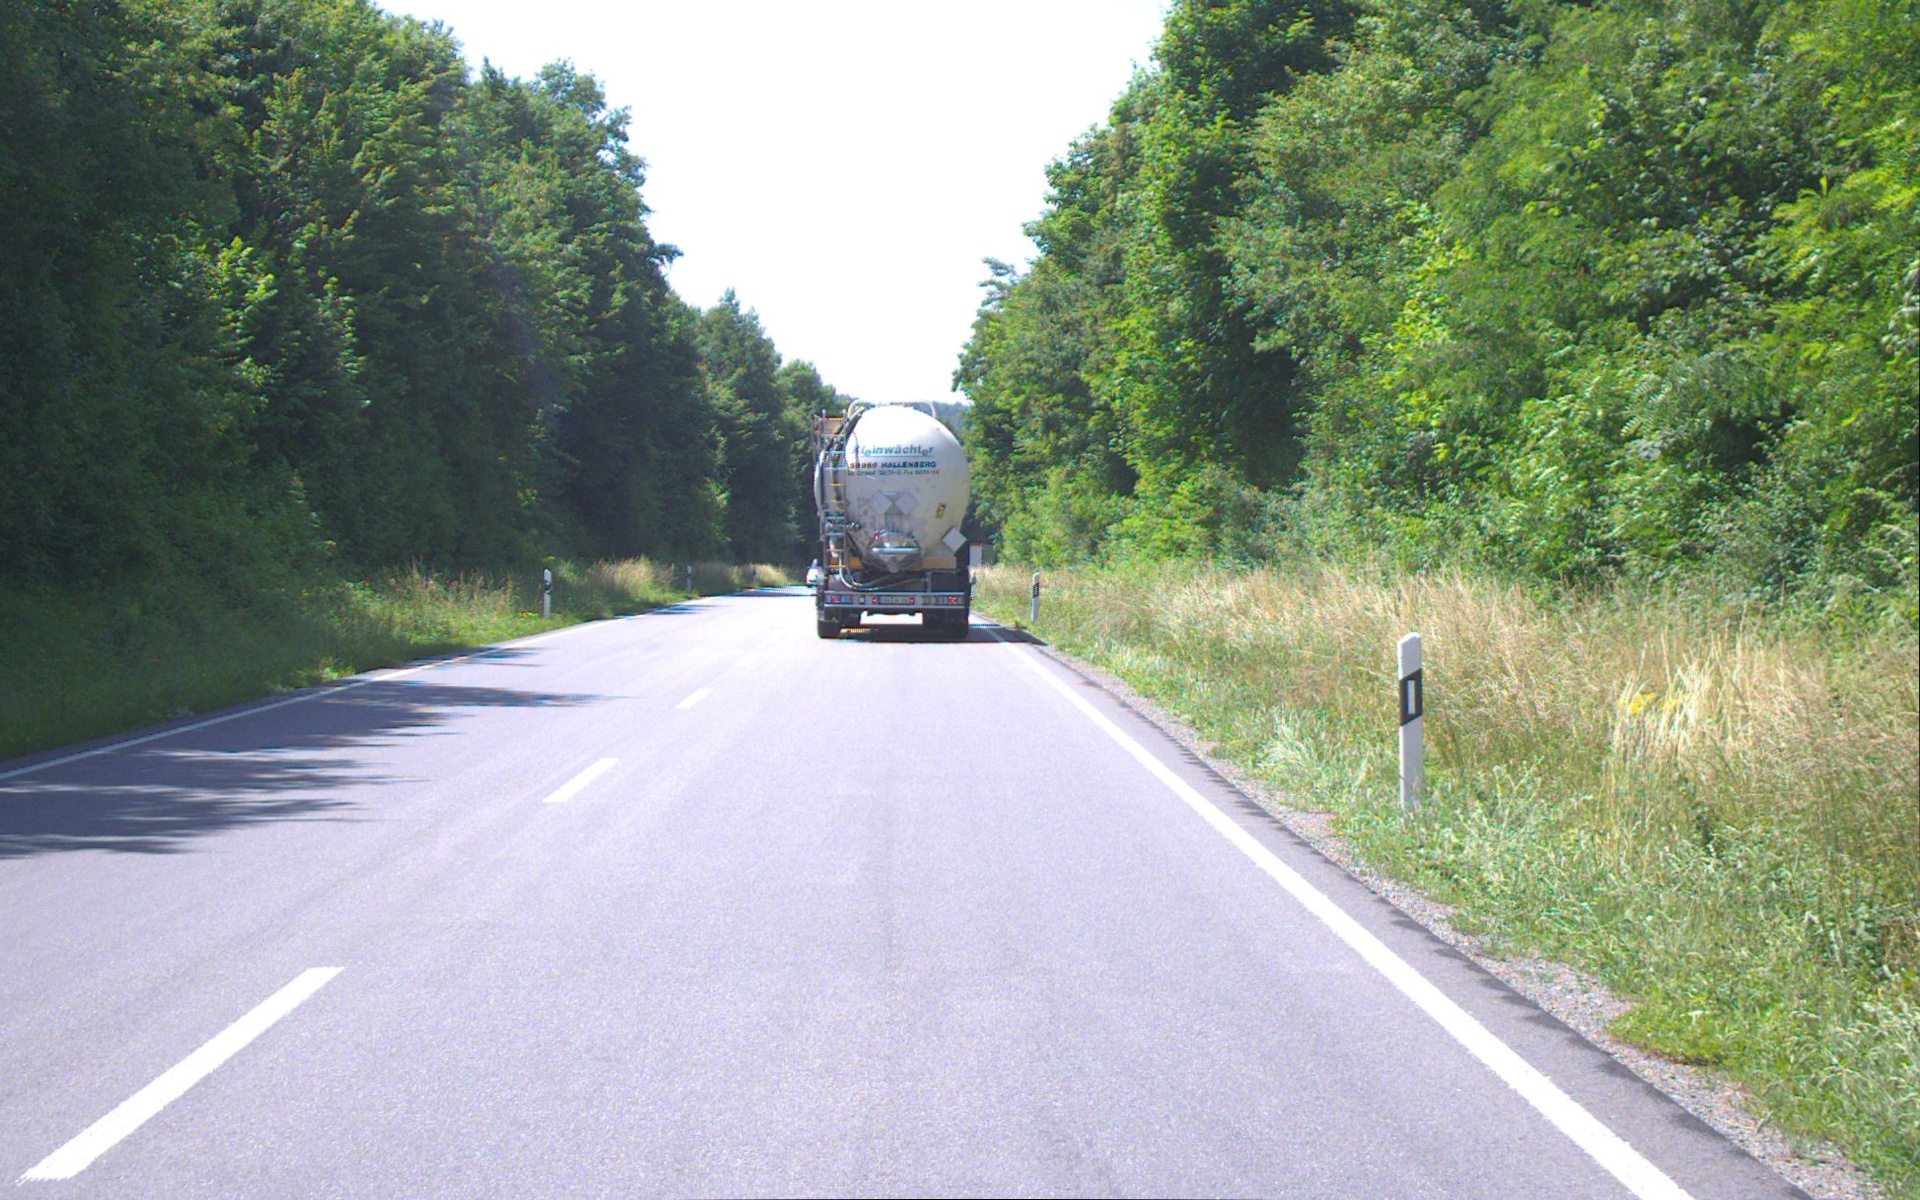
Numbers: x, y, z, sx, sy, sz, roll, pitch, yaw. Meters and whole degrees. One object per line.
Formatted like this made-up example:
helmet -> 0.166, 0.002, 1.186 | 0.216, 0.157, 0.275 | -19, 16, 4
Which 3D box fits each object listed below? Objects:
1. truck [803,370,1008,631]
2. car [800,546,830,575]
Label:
truck -> -1.167, -1.635, 62.142 | 3.049, 3.984, 15.638 | 3, 0, -2
car -> -7.914, -2.165, 187.827 | 1.512, 1.587, 3.793 | 0, 1, -1
